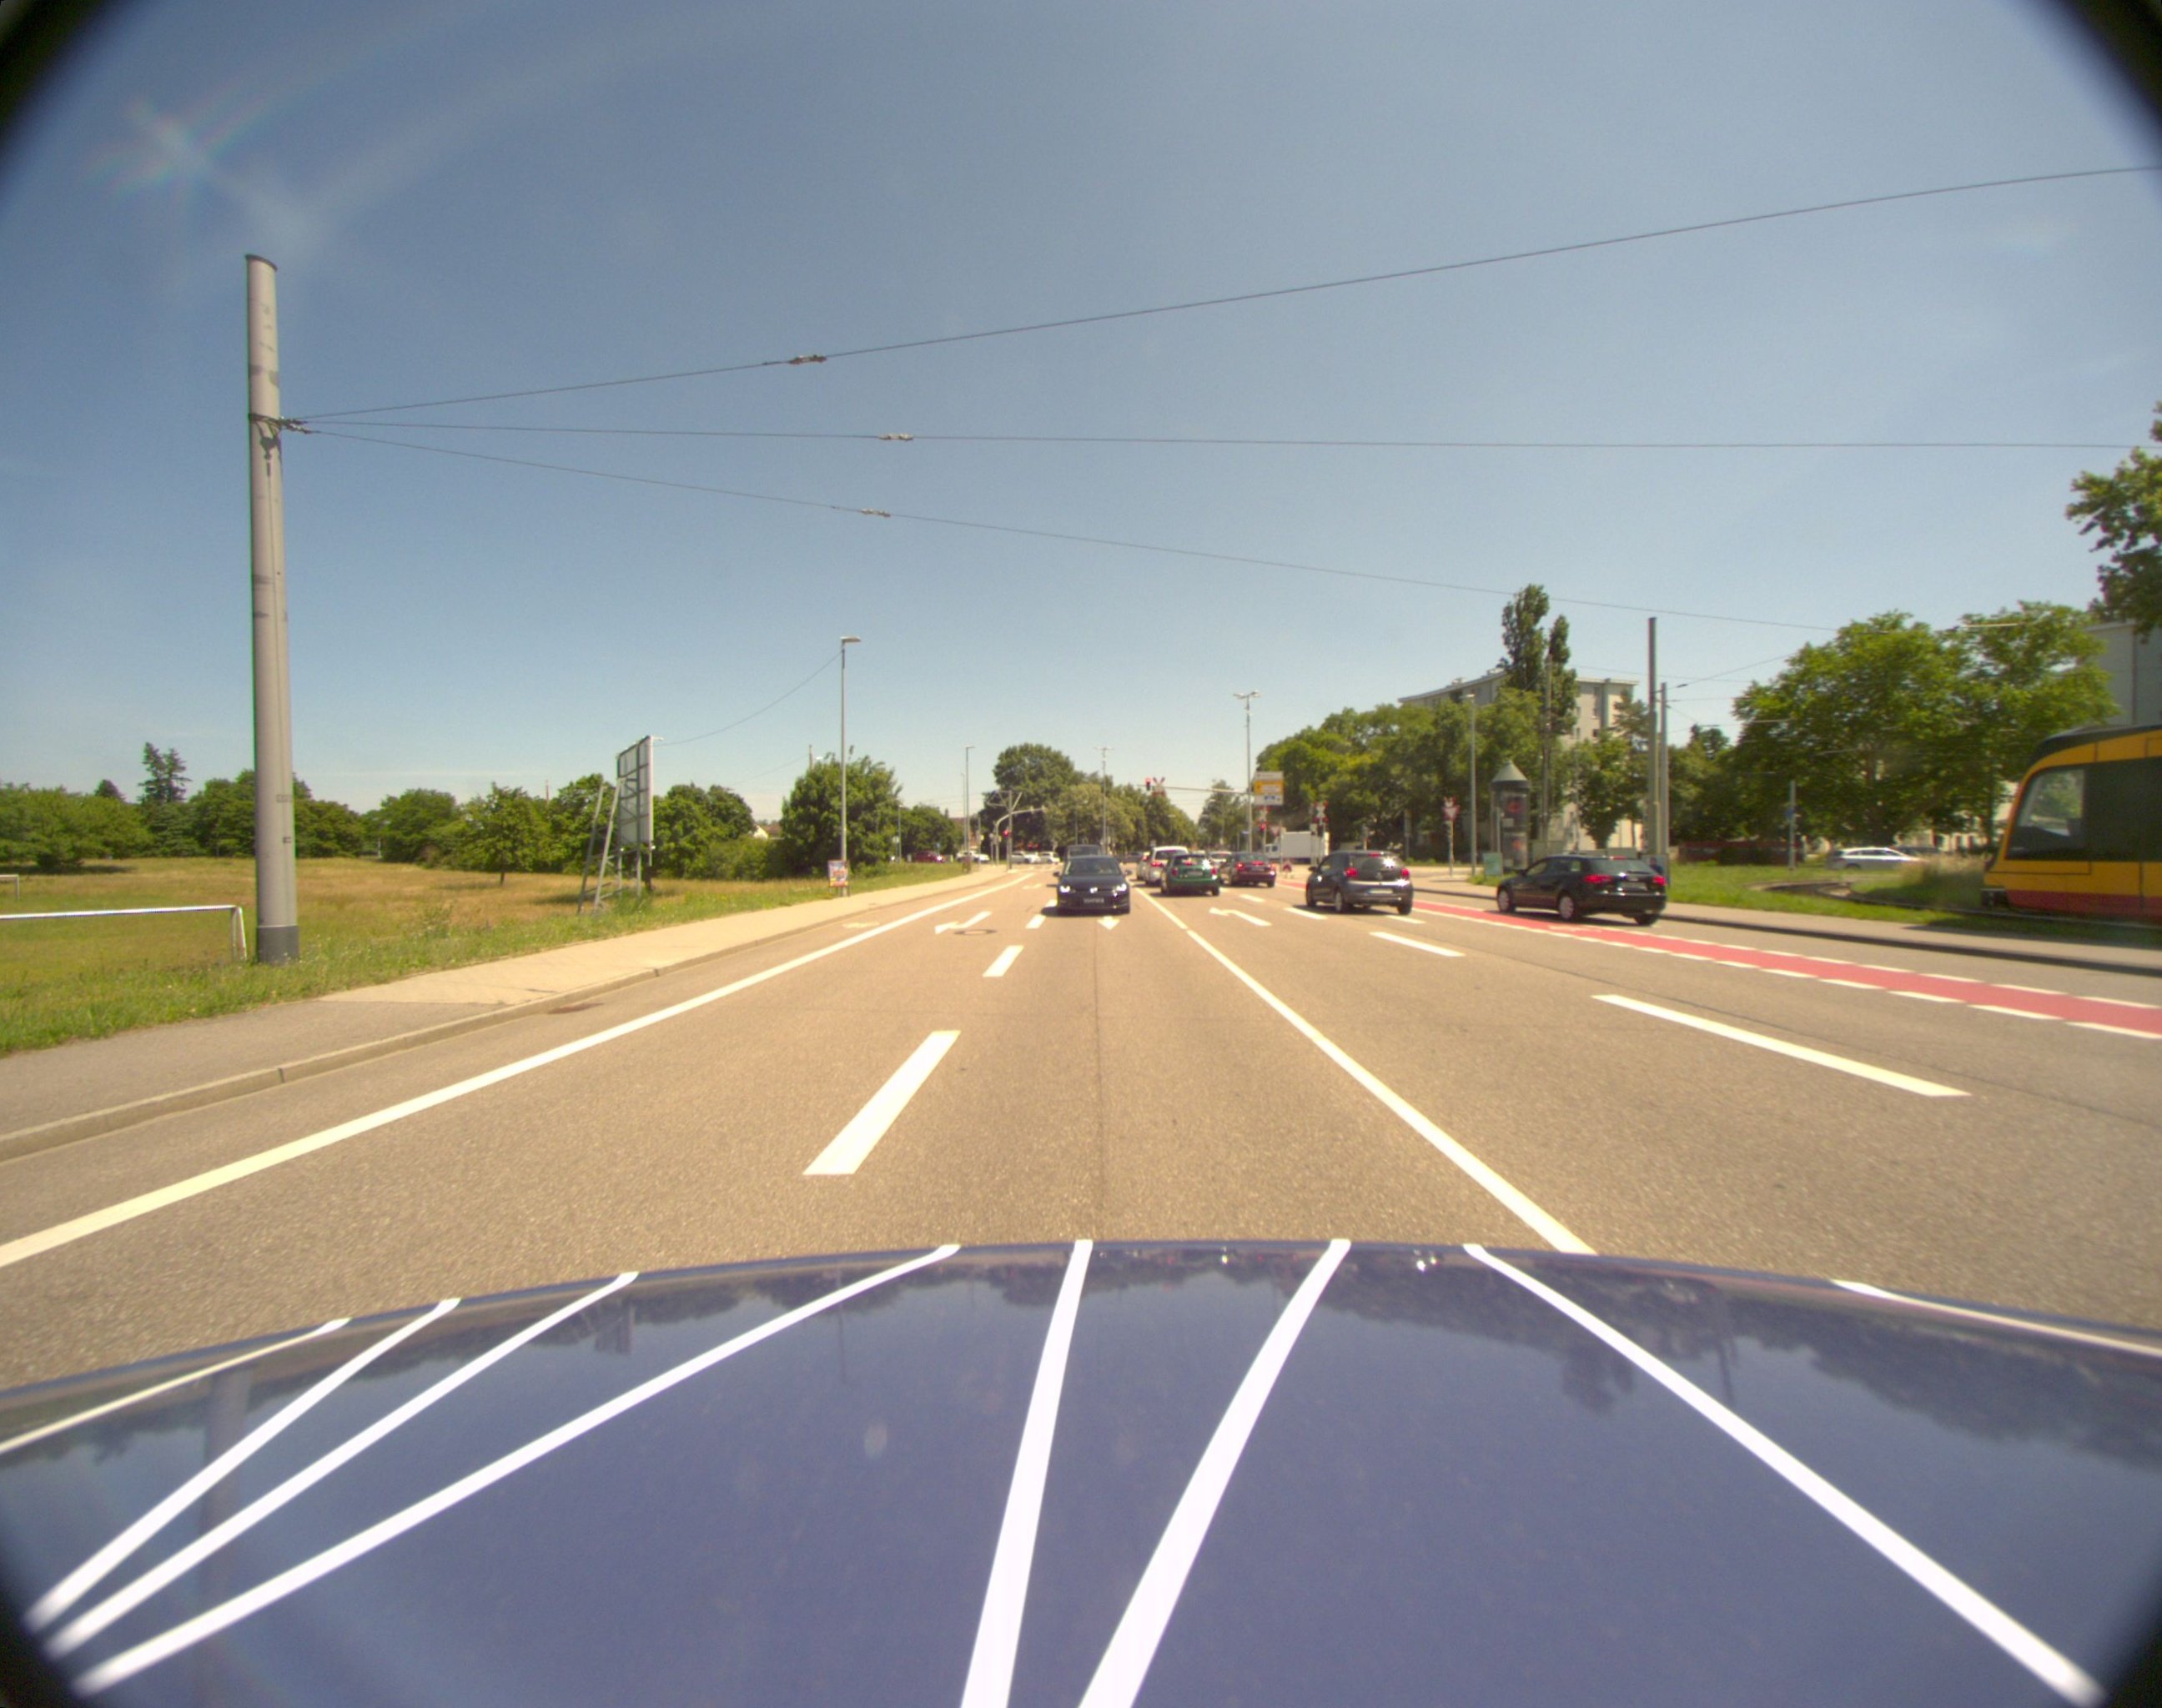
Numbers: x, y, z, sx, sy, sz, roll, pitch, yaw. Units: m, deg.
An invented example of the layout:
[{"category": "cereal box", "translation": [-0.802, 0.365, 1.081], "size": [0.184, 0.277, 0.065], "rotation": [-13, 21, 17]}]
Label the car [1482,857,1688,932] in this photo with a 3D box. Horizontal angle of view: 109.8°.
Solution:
[{"category": "car", "translation": [10.895, 0.795, 16.892], "size": [1.748, 1.397, 4.441], "rotation": [1, 0, 3]}]

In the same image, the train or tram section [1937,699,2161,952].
[{"category": "train or tram section", "translation": [17.789, -0.397, 7.578], "size": [3.025, 3.737, 12.987], "rotation": [1, 0, -5]}]

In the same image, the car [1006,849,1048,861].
[{"category": "car", "translation": [-6.145, 0.133, 86.360], "size": [4.399, 1.381, 1.879], "rotation": [0, 0, 32]}]

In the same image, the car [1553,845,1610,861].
[{"category": "car", "translation": [42.586, -0.069, 64.741], "size": [3.989, 1.279, 1.891], "rotation": [0, -2, 30]}]

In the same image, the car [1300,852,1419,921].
[{"category": "car", "translation": [6.565, 0.710, 18.297], "size": [1.626, 1.447, 3.501], "rotation": [1, 1, 1]}]

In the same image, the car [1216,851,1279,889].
[{"category": "car", "translation": [6.939, 0.628, 32.133], "size": [1.764, 1.448, 4.285], "rotation": [0, 0, 0]}]

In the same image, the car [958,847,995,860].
[{"category": "car", "translation": [-13.093, -0.026, 94.769], "size": [4.399, 1.567, 1.879], "rotation": [0, 0, 32]}]

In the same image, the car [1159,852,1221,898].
[{"category": "car", "translation": [3.695, 0.662, 26.289], "size": [1.727, 1.454, 3.990], "rotation": [-1, 0, 2]}]

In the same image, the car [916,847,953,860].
[{"category": "car", "translation": [-18.134, -0.027, 93.836], "size": [4.399, 1.567, 1.879], "rotation": [0, 0, 32]}]

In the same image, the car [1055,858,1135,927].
[{"category": "car", "translation": [0.298, 0.846, 18.549], "size": [1.708, 1.396, 4.053], "rotation": [-2, 1, 0]}]

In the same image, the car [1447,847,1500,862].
[{"category": "car", "translation": [33.829, 0.059, 65.491], "size": [3.989, 1.279, 1.751], "rotation": [0, -2, 30]}]

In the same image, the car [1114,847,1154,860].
[{"category": "car", "translation": [6.076, -0.041, 87.133], "size": [4.203, 1.417, 1.853], "rotation": [0, 0, 32]}]

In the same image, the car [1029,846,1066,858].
[{"category": "car", "translation": [-4.111, -0.222, 93.789], "size": [4.203, 1.417, 1.853], "rotation": [0, 0, 32]}]

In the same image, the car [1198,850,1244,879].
[{"category": "car", "translation": [7.544, 0.526, 41.249], "size": [1.795, 1.447, 4.413], "rotation": [0, 1, 2]}]

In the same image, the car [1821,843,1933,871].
[{"category": "car", "translation": [46.533, 0.197, 44.548], "size": [4.245, 1.536, 1.751], "rotation": [0, -2, 35]}]

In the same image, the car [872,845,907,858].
[{"category": "car", "translation": [-24.667, -0.284, 97.718], "size": [4.399, 1.567, 1.879], "rotation": [0, 0, 32]}]

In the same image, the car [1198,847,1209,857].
[{"category": "car", "translation": [21.377, -0.377, 132.777], "size": [1.808, 1.707, 4.346], "rotation": [0, 0, 9]}]

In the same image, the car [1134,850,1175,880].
[{"category": "car", "translation": [3.874, 0.561, 40.573], "size": [1.772, 1.429, 3.960], "rotation": [-2, 1, 0]}]

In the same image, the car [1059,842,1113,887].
[{"category": "car", "translation": [0.153, 0.419, 36.122], "size": [1.942, 1.920, 4.843], "rotation": [-2, 1, -6]}]

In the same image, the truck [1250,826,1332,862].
[{"category": "truck", "translation": [21.599, -0.969, 78.181], "size": [7.690, 3.511, 2.594], "rotation": [0, -1, 32]}]

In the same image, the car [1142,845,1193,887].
[{"category": "car", "translation": [3.764, 0.486, 33.720], "size": [1.816, 1.713, 4.831], "rotation": [-1, 0, 1]}]
